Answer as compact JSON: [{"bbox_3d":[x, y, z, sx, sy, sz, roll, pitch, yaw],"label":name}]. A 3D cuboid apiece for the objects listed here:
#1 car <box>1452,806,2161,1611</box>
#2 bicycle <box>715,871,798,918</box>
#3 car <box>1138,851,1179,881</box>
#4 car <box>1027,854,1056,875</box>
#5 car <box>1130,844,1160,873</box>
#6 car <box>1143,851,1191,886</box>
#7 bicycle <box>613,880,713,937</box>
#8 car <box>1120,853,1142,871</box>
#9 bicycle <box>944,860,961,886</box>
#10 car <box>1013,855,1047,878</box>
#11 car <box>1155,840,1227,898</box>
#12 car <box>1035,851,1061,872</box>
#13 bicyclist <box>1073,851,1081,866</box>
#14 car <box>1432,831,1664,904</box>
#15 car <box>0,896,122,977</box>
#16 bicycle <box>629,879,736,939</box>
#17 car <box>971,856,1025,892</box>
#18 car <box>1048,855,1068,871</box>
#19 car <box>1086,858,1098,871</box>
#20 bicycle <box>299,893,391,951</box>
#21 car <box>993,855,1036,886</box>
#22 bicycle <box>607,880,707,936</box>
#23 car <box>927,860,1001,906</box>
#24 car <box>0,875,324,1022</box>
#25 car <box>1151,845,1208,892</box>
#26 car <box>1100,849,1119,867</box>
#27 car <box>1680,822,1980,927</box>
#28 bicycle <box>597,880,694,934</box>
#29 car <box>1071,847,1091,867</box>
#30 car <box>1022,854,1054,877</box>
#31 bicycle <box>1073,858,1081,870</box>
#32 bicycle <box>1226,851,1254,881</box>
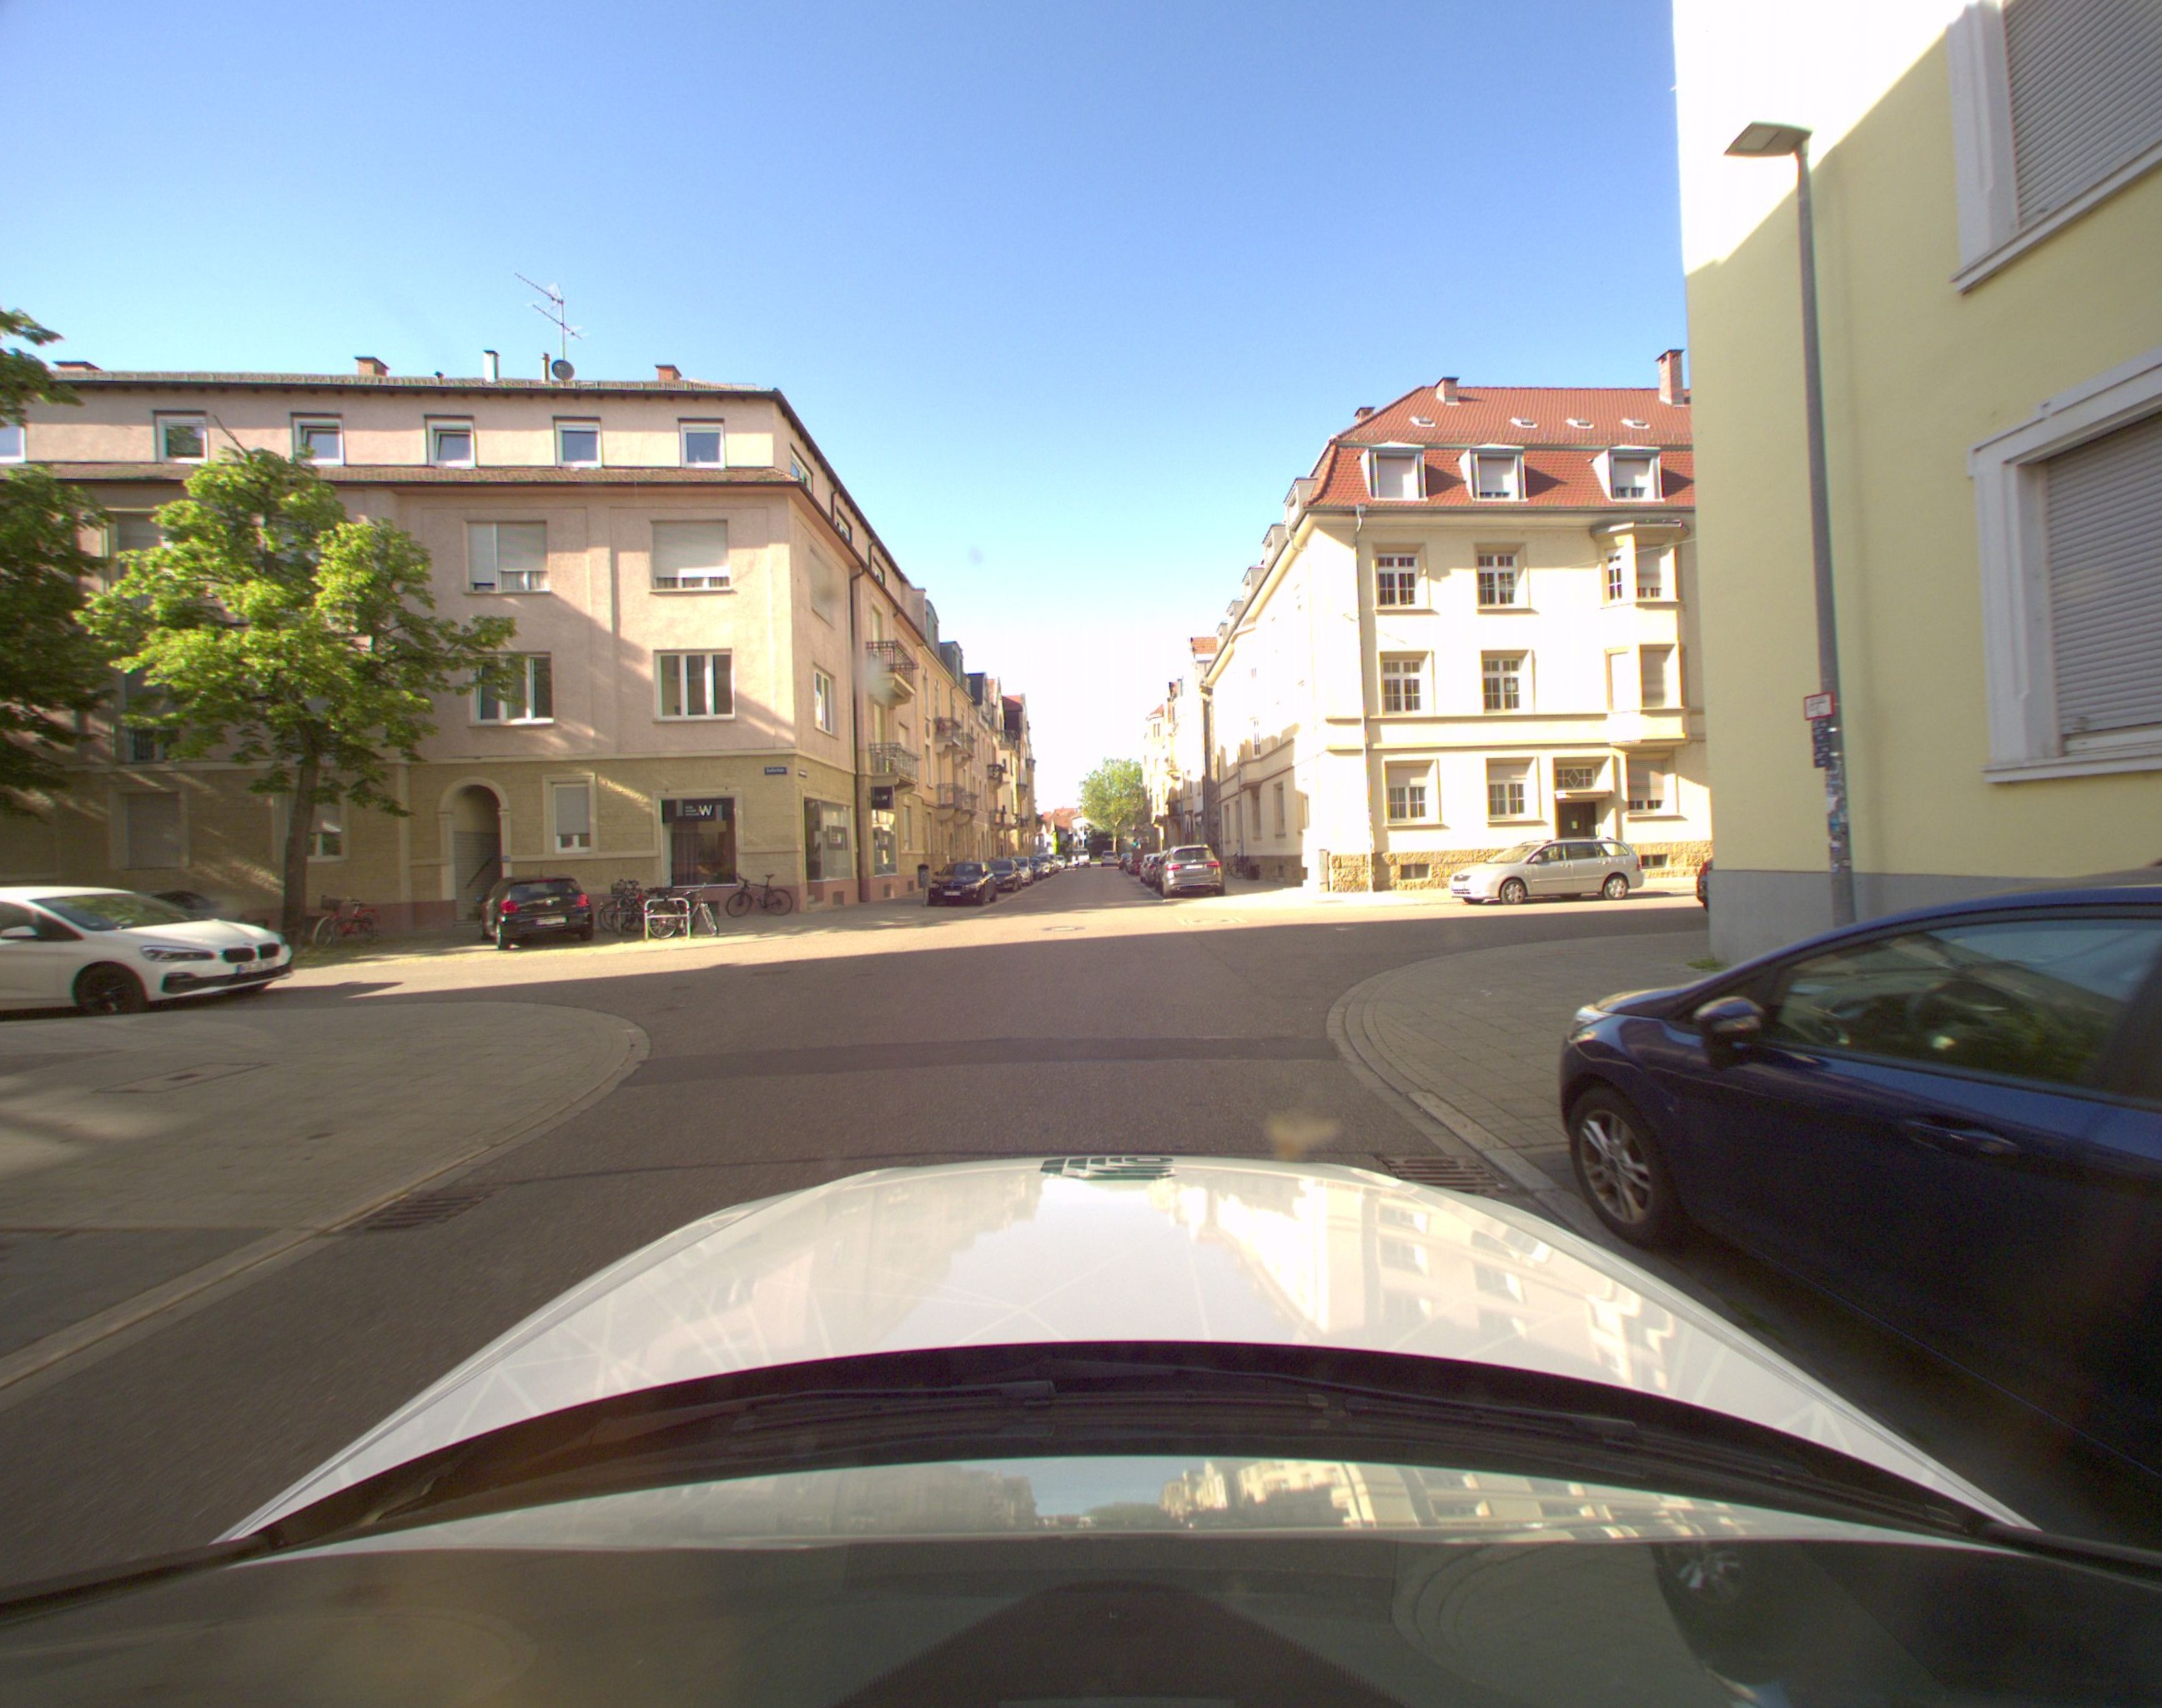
[{"bbox_3d":[2.863,0.641,2.087,1.758,1.470,4.081,-5,0,-2],"label":"car"},{"bbox_3d":[-8.566,1.070,21.557,1.896,1.135,0.647,-2,1,-7],"label":"bicycle"},{"bbox_3d":[4.036,0.655,43.018,1.832,1.431,4.030,-4,-2,2],"label":"car"},{"bbox_3d":[-3.092,0.841,64.317,1.997,1.619,4.487,0,-1,0],"label":"car"},{"bbox_3d":[4.348,0.373,55.821,1.832,1.787,4.030,-3,-2,2],"label":"car"},{"bbox_3d":[3.896,0.698,37.625,1.832,1.431,4.030,-4,-2,2],"label":"car"},{"bbox_3d":[-9.158,1.193,17.876,1.891,1.135,0.526,-2,1,2],"label":"bicycle"},{"bbox_3d":[4.590,0.749,74.643,1.832,1.431,4.030,-4,-2,2],"label":"car"},{"bbox_3d":[-6.803,0.978,43.131,0.539,1.301,1.867,-1,0,2],"label":"bicycle"},{"bbox_3d":[-3.362,0.839,54.346,1.972,1.482,4.327,0,-1,0],"label":"car"},{"bbox_3d":[3.537,0.506,26.941,1.905,1.645,4.777,-4,-2,3],"label":"car"},{"bbox_3d":[-2.821,0.665,69.794,1.997,1.788,4.487,0,-1,0],"label":"car"},{"bbox_3d":[-0.355,0.432,76.996,0.660,1.385,0.754,-4,-1,0],"label":"bicyclist"},{"bbox_3d":[11.004,0.331,19.345,4.531,1.468,1.824,-2,-2,-6],"label":"car"},{"bbox_3d":[-21.921,1.662,16.509,1.709,1.426,4.176,-2,0,-28],"label":"car"},{"bbox_3d":[-8.374,1.158,17.166,1.891,1.135,0.648,-2,1,2],"label":"bicycle"},{"bbox_3d":[-3.784,0.900,37.714,1.997,1.582,4.487,0,-1,0],"label":"car"},{"bbox_3d":[-2.378,0.937,85.321,1.997,1.605,4.487,0,-1,0],"label":"car"},{"bbox_3d":[1.714,1.579,128.072,1.997,2.000,4.487,0,-1,0],"label":"car"},{"bbox_3d":[-16.167,1.465,17.952,0.503,1.063,1.888,0,1,-7],"label":"bicycle"},{"bbox_3d":[-3.634,0.917,45.281,1.997,1.619,4.487,0,-1,0],"label":"car"},{"bbox_3d":[-9.545,1.207,18.367,1.893,1.135,0.526,-2,1,-2],"label":"bicycle"},{"bbox_3d":[-3.835,0.920,27.419,1.672,1.426,4.277,0,-1,3],"label":"car"},{"bbox_3d":[-12.880,1.180,10.427,4.428,1.592,1.723,-2,0,-7],"label":"car"},{"bbox_3d":[3.740,0.577,31.561,1.739,1.608,4.030,-4,-2,2],"label":"car"},{"bbox_3d":[3.132,0.417,88.820,1.996,1.914,4.488,0,-1,1],"label":"car"},{"bbox_3d":[12.272,0.286,13.465,3.617,1.468,1.690,-2,2,-6],"label":"car"},{"bbox_3d":[-10.096,1.226,18.930,1.893,1.135,0.526,-2,1,-2],"label":"bicycle"},{"bbox_3d":[0.016,0.354,85.065,1.997,2.000,4.487,0,-1,0],"label":"car"},{"bbox_3d":[-3.077,0.818,58.888,1.997,1.619,4.487,0,-1,0],"label":"car"},{"bbox_3d":[-0.332,0.959,76.971,0.660,1.019,2.066,-4,-1,0],"label":"bicycle"},{"bbox_3d":[7.069,0.525,36.282,0.758,1.246,2.592,-2,0,1],"label":"bicycle"}]
